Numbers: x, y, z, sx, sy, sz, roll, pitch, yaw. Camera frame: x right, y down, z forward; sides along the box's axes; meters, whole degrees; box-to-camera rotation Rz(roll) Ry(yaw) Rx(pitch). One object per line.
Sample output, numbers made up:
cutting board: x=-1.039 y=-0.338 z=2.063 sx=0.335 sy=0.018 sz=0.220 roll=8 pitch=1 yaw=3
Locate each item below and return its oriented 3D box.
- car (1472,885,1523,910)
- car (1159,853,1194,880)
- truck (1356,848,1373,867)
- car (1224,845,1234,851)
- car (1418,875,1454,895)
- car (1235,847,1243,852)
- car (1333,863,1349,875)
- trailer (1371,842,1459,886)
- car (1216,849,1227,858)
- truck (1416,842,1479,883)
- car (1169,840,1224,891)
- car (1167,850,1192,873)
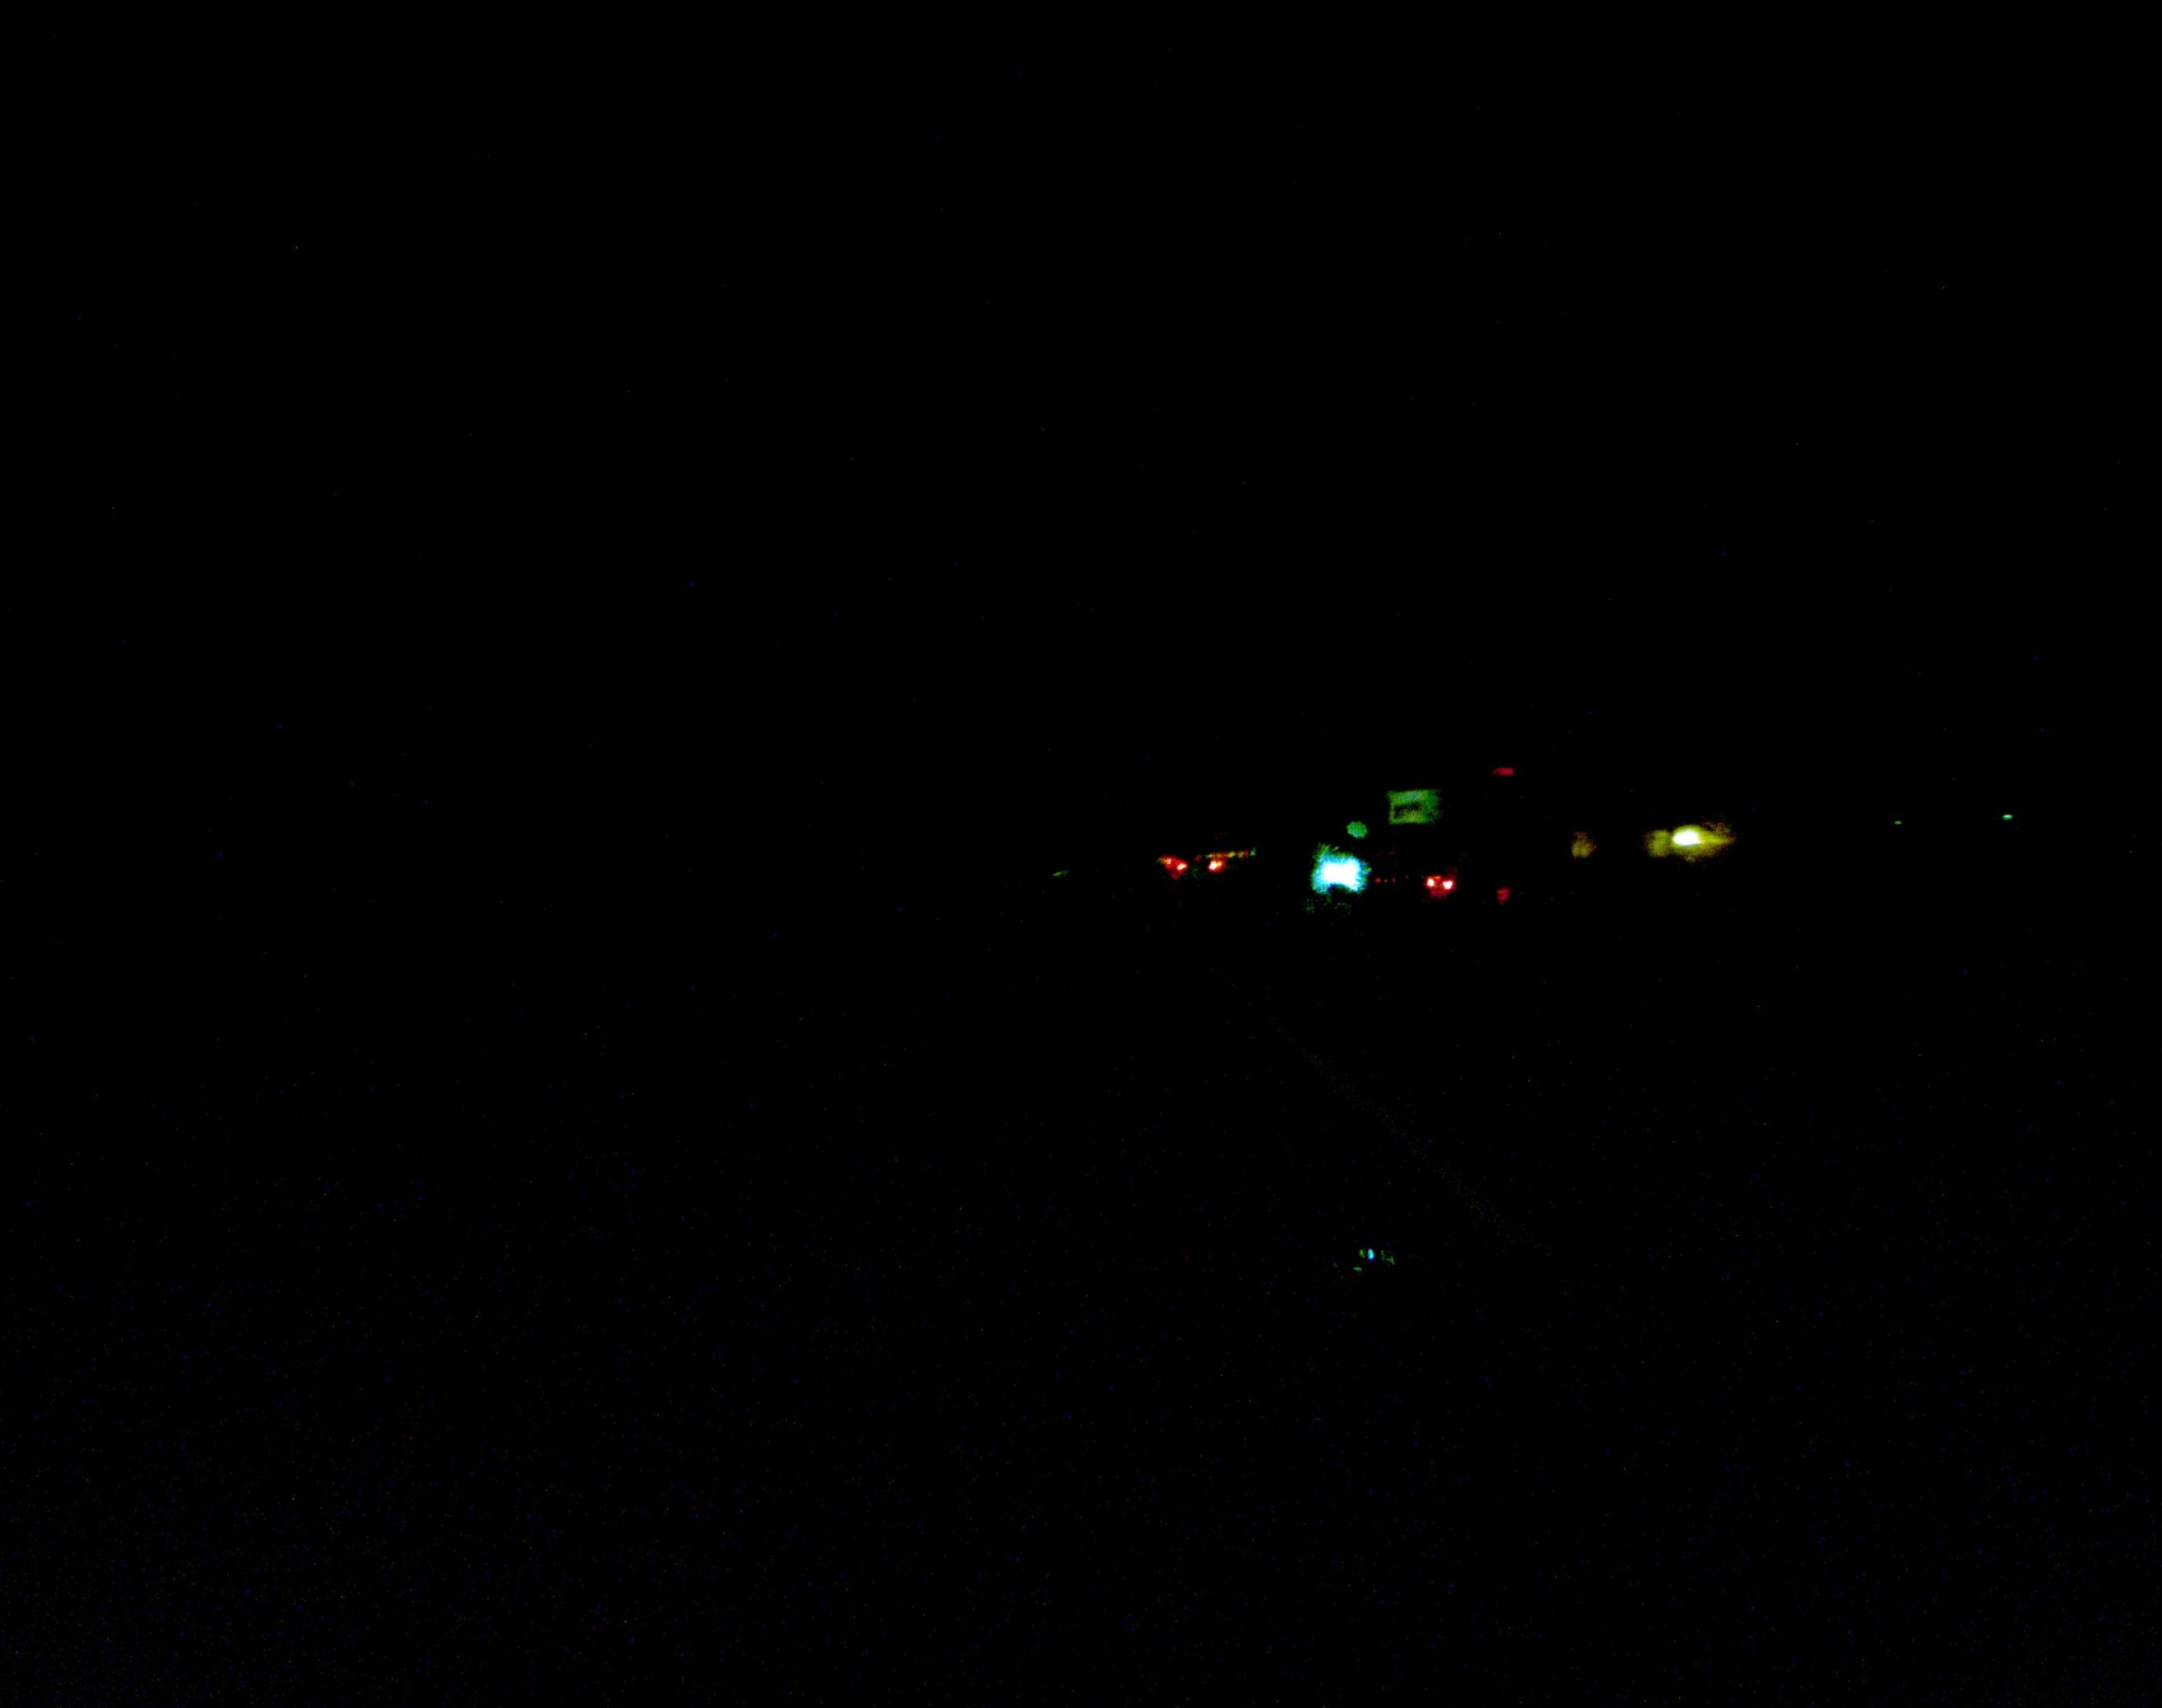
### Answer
car: x=31.695 y=3.266 z=57.928 sx=1.812 sy=1.561 sz=4.294 roll=-2 pitch=1 yaw=5
car: x=5.709 y=0.733 z=45.964 sx=1.803 sy=1.511 sz=4.536 roll=-1 pitch=1 yaw=3
truck: x=54.904 y=0.635 z=147.310 sx=2.759 sy=3.462 sz=8.116 roll=-1 pitch=0 yaw=19
car: x=35.948 y=-1.511 z=184.495 sx=1.787 sy=1.470 sz=3.684 roll=-2 pitch=1 yaw=18
car: x=34.505 y=3.019 z=74.005 sx=1.812 sy=1.666 sz=4.294 roll=-2 pitch=1 yaw=5
car: x=44.924 y=-1.322 z=216.007 sx=1.638 sy=1.511 sz=3.775 roll=0 pitch=1 yaw=19
car: x=40.591 y=2.297 z=118.685 sx=1.811 sy=1.666 sz=4.296 roll=-2 pitch=1 yaw=13
trailer: x=40.786 y=1.154 z=92.553 sx=11.571 sy=4.768 sz=3.330 roll=-2 pitch=1 yaw=-28
car: x=29.434 y=-0.160 z=159.364 sx=1.811 sy=1.666 sz=4.297 roll=-2 pitch=1 yaw=15
truck: x=45.900 y=0.972 z=95.219 sx=7.329 sy=4.768 sz=3.330 roll=-2 pitch=1 yaw=-28
car: x=5.021 y=0.442 z=33.465 sx=1.998 sy=2.063 sz=4.001 roll=-2 pitch=1 yaw=4
car: x=7.692 y=0.563 z=59.419 sx=1.691 sy=1.671 sz=3.468 roll=-1 pitch=1 yaw=4
